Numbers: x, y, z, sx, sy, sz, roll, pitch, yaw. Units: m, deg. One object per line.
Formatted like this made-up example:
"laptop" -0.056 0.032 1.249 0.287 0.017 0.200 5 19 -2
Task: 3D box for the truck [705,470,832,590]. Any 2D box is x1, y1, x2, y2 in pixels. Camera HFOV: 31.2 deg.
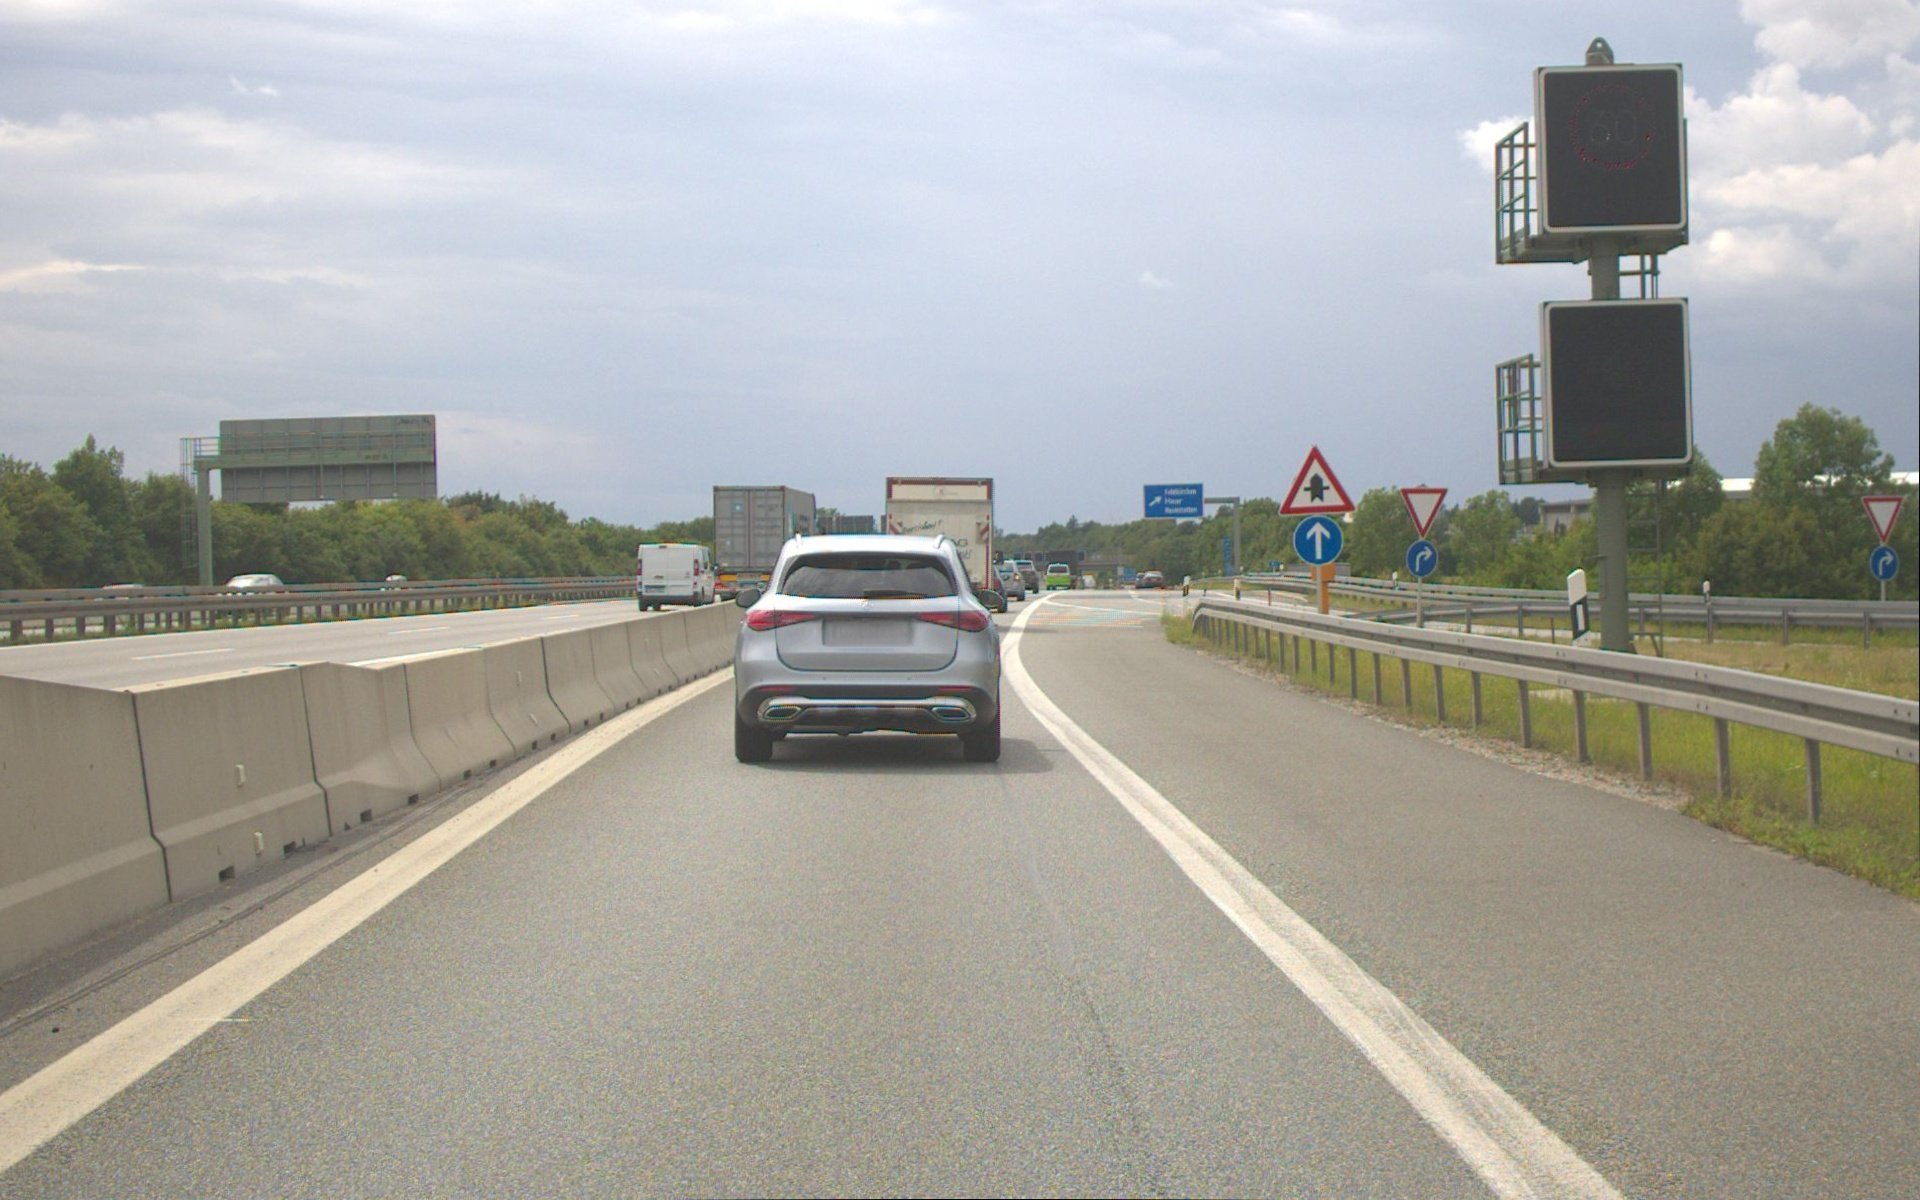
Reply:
"truck" -6.730 -2.601 123.451 3.183 4.005 16.075 1 2 2

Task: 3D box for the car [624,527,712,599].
"car" -8.597 -1.105 101.485 1.994 2.006 4.374 1 2 3

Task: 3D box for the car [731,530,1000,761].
"car" -0.623 0.268 25.402 1.819 1.509 4.000 1 2 1

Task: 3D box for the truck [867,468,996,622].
"truck" -0.535 -1.174 74.680 2.569 3.115 8.634 1 1 1

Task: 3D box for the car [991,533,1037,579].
"car" 2.529 -2.062 160.460 1.994 2.006 4.374 1 2 3

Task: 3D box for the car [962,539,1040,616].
"car" 1.153 -0.646 94.759 1.994 2.006 4.000 1 2 3

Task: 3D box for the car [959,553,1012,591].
"car" 0.915 -1.009 122.313 1.696 1.284 4.000 0 1 3
